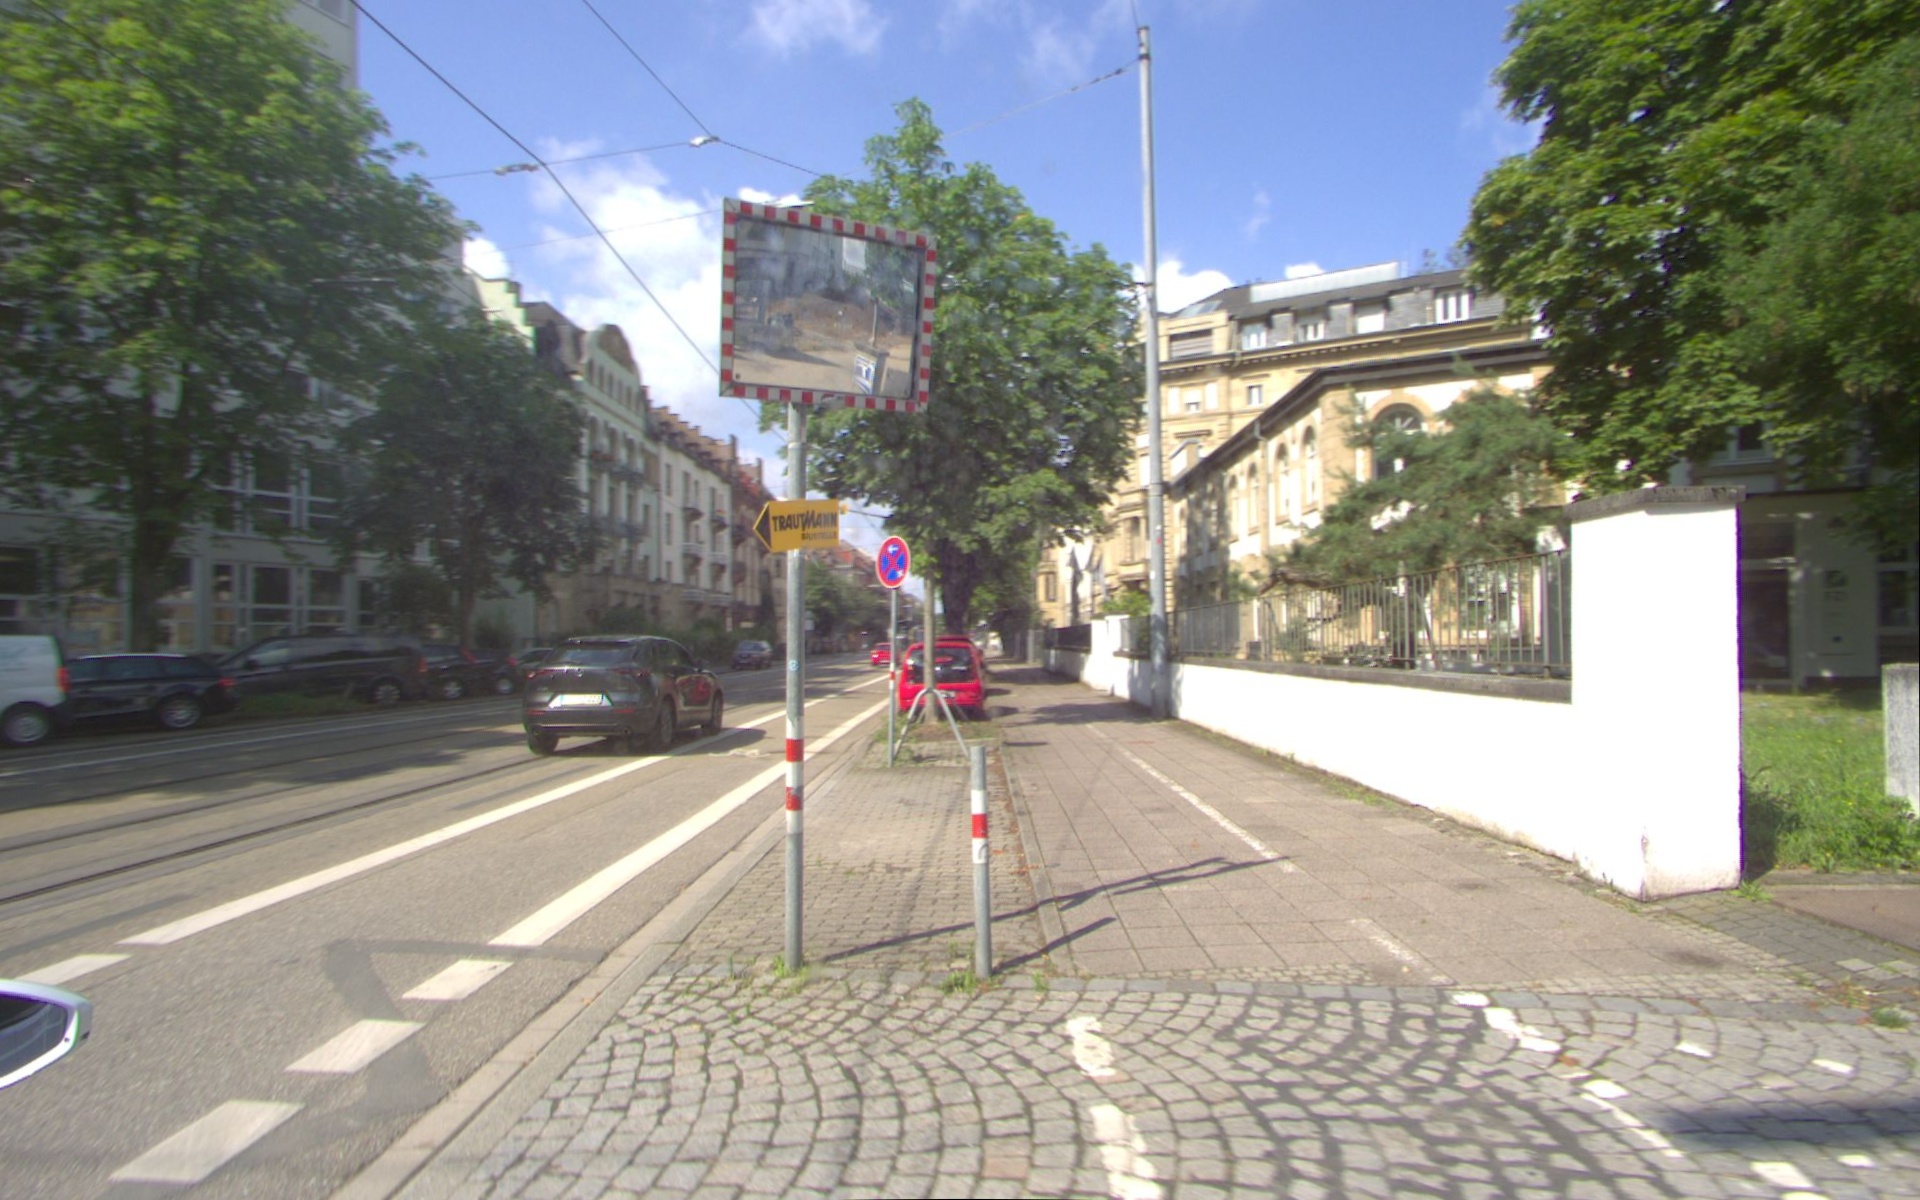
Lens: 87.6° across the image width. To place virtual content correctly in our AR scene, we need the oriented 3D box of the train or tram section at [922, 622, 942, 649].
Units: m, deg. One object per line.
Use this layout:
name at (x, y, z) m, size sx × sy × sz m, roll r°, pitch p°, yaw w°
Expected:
train or tram section at (-3.873, 4.863, 136.499) m, size 2.609 × 3.571 × 8.502 m, roll -1°, pitch -2°, yaw -2°

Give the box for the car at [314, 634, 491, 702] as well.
car at (-15.459, 1.855, 27.879) m, size 3.960 × 1.613 × 1.725 m, roll -1°, pitch -2°, yaw -44°

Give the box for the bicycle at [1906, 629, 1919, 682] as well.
bicycle at (18.449, 1.062, 18.852) m, size 0.420 × 1.000 × 1.813 m, roll 0°, pitch 0°, yaw 27°

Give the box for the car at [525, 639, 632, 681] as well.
car at (-15.618, 2.453, 41.073) m, size 3.762 × 1.503 × 1.685 m, roll -1°, pitch -2°, yaw -39°

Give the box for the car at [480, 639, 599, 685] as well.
car at (-15.829, 2.341, 37.831) m, size 3.770 × 1.503 × 1.682 m, roll -1°, pitch -3°, yaw -45°

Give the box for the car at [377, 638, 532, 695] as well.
car at (-15.602, 2.039, 31.002) m, size 3.957 × 1.503 × 1.727 m, roll -1°, pitch -2°, yaw -42°

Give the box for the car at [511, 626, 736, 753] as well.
car at (-4.594, 1.154, 14.407) m, size 1.760 × 1.531 × 4.352 m, roll 1°, pitch -1°, yaw 0°

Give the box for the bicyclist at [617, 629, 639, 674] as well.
bicyclist at (-12.006, 1.860, 36.195) m, size 0.631 × 1.596 × 0.742 m, roll -1°, pitch -2°, yaw -9°

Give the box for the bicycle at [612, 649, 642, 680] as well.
bicycle at (-11.986, 2.313, 36.054) m, size 0.645 × 1.053 × 2.001 m, roll -1°, pitch -2°, yaw -7°

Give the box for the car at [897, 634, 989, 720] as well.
car at (-0.339, 1.465, 19.810) m, size 1.574 × 1.446 × 3.598 m, roll -4°, pitch -2°, yaw -1°

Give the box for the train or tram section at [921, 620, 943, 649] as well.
train or tram section at (-3.583, 4.484, 128.005) m, size 2.609 × 3.571 × 8.502 m, roll -1°, pitch -2°, yaw -2°

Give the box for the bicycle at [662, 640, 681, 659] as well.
bicycle at (-15.298, 2.627, 53.125) m, size 0.376 × 0.971 × 1.811 m, roll 1°, pitch -2°, yaw 3°

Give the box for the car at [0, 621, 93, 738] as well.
car at (-15.500, 1.266, 15.044) m, size 3.677 × 1.714 × 1.745 m, roll -1°, pitch -2°, yaw -43°

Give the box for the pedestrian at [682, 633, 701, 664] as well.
pedestrian at (-14.097, 2.522, 52.542) m, size 0.669 × 1.588 × 0.882 m, roll 1°, pitch -1°, yaw 3°

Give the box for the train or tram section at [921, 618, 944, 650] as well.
train or tram section at (-3.276, 4.086, 119.538) m, size 2.609 × 3.571 × 8.502 m, roll -1°, pitch -2°, yaw -2°

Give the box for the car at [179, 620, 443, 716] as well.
car at (-15.773, 1.596, 24.564) m, size 1.898 × 1.979 × 5.119 m, roll -4°, pitch -2°, yaw 45°

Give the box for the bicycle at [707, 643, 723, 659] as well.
bicycle at (-14.978, 3.114, 61.294) m, size 0.376 × 0.971 × 1.922 m, roll 1°, pitch -2°, yaw 3°

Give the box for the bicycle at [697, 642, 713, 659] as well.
bicycle at (-15.035, 3.001, 59.156) m, size 0.376 × 0.971 × 1.811 m, roll 1°, pitch -2°, yaw 3°

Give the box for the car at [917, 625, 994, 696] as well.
car at (-0.165, 1.574, 26.930) m, size 1.845 × 1.697 × 4.284 m, roll -2°, pitch -2°, yaw -1°

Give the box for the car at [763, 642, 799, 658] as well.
car at (-17.973, 5.017, 100.771) m, size 3.184 × 1.532 × 1.680 m, roll 1°, pitch -2°, yaw 5°

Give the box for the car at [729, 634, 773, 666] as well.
car at (-12.525, 2.978, 60.332) m, size 1.756 × 1.785 × 4.885 m, roll -1°, pitch -2°, yaw -1°

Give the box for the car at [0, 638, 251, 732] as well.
car at (-15.472, 1.503, 18.209) m, size 1.744 × 1.435 × 3.962 m, roll -5°, pitch -3°, yaw 45°

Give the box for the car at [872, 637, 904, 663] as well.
car at (-4.482, 3.107, 62.548) m, size 1.756 × 1.511 × 4.885 m, roll -1°, pitch -2°, yaw -1°
